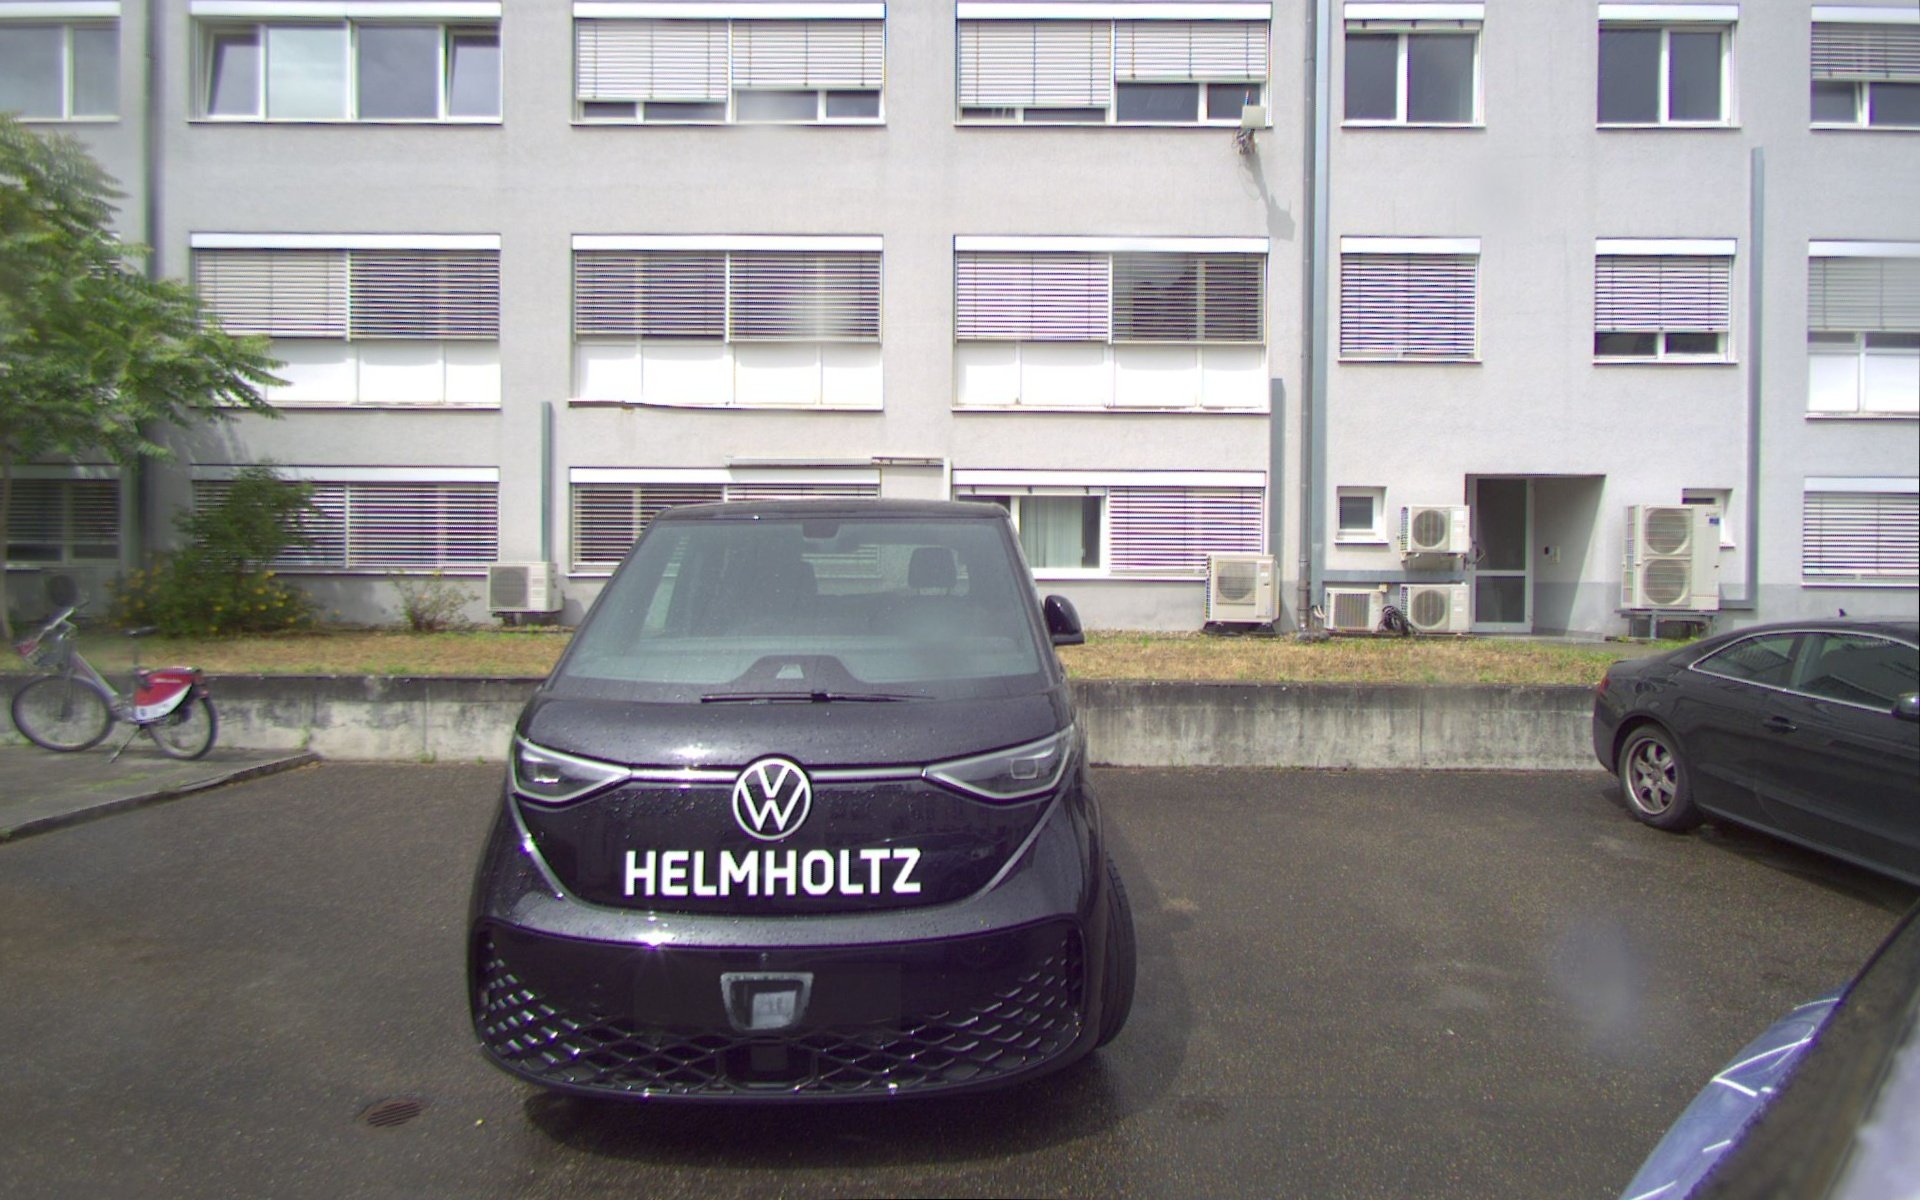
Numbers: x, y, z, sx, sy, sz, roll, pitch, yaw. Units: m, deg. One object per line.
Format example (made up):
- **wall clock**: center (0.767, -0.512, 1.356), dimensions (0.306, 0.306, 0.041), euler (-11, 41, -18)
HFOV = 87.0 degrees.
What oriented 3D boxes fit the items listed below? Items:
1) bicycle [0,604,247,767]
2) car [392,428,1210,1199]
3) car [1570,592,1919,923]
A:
- **bicycle**: center (-6.330, 0.614, 7.544), dimensions (1.764, 1.117, 0.446), euler (1, 3, 5)
- **car**: center (-0.405, 0.448, 4.787), dimensions (1.933, 1.887, 4.750), euler (0, 2, -1)
- **car**: center (5.084, 0.719, 4.743), dimensions (1.730, 1.368, 4.530), euler (0, 2, 1)
